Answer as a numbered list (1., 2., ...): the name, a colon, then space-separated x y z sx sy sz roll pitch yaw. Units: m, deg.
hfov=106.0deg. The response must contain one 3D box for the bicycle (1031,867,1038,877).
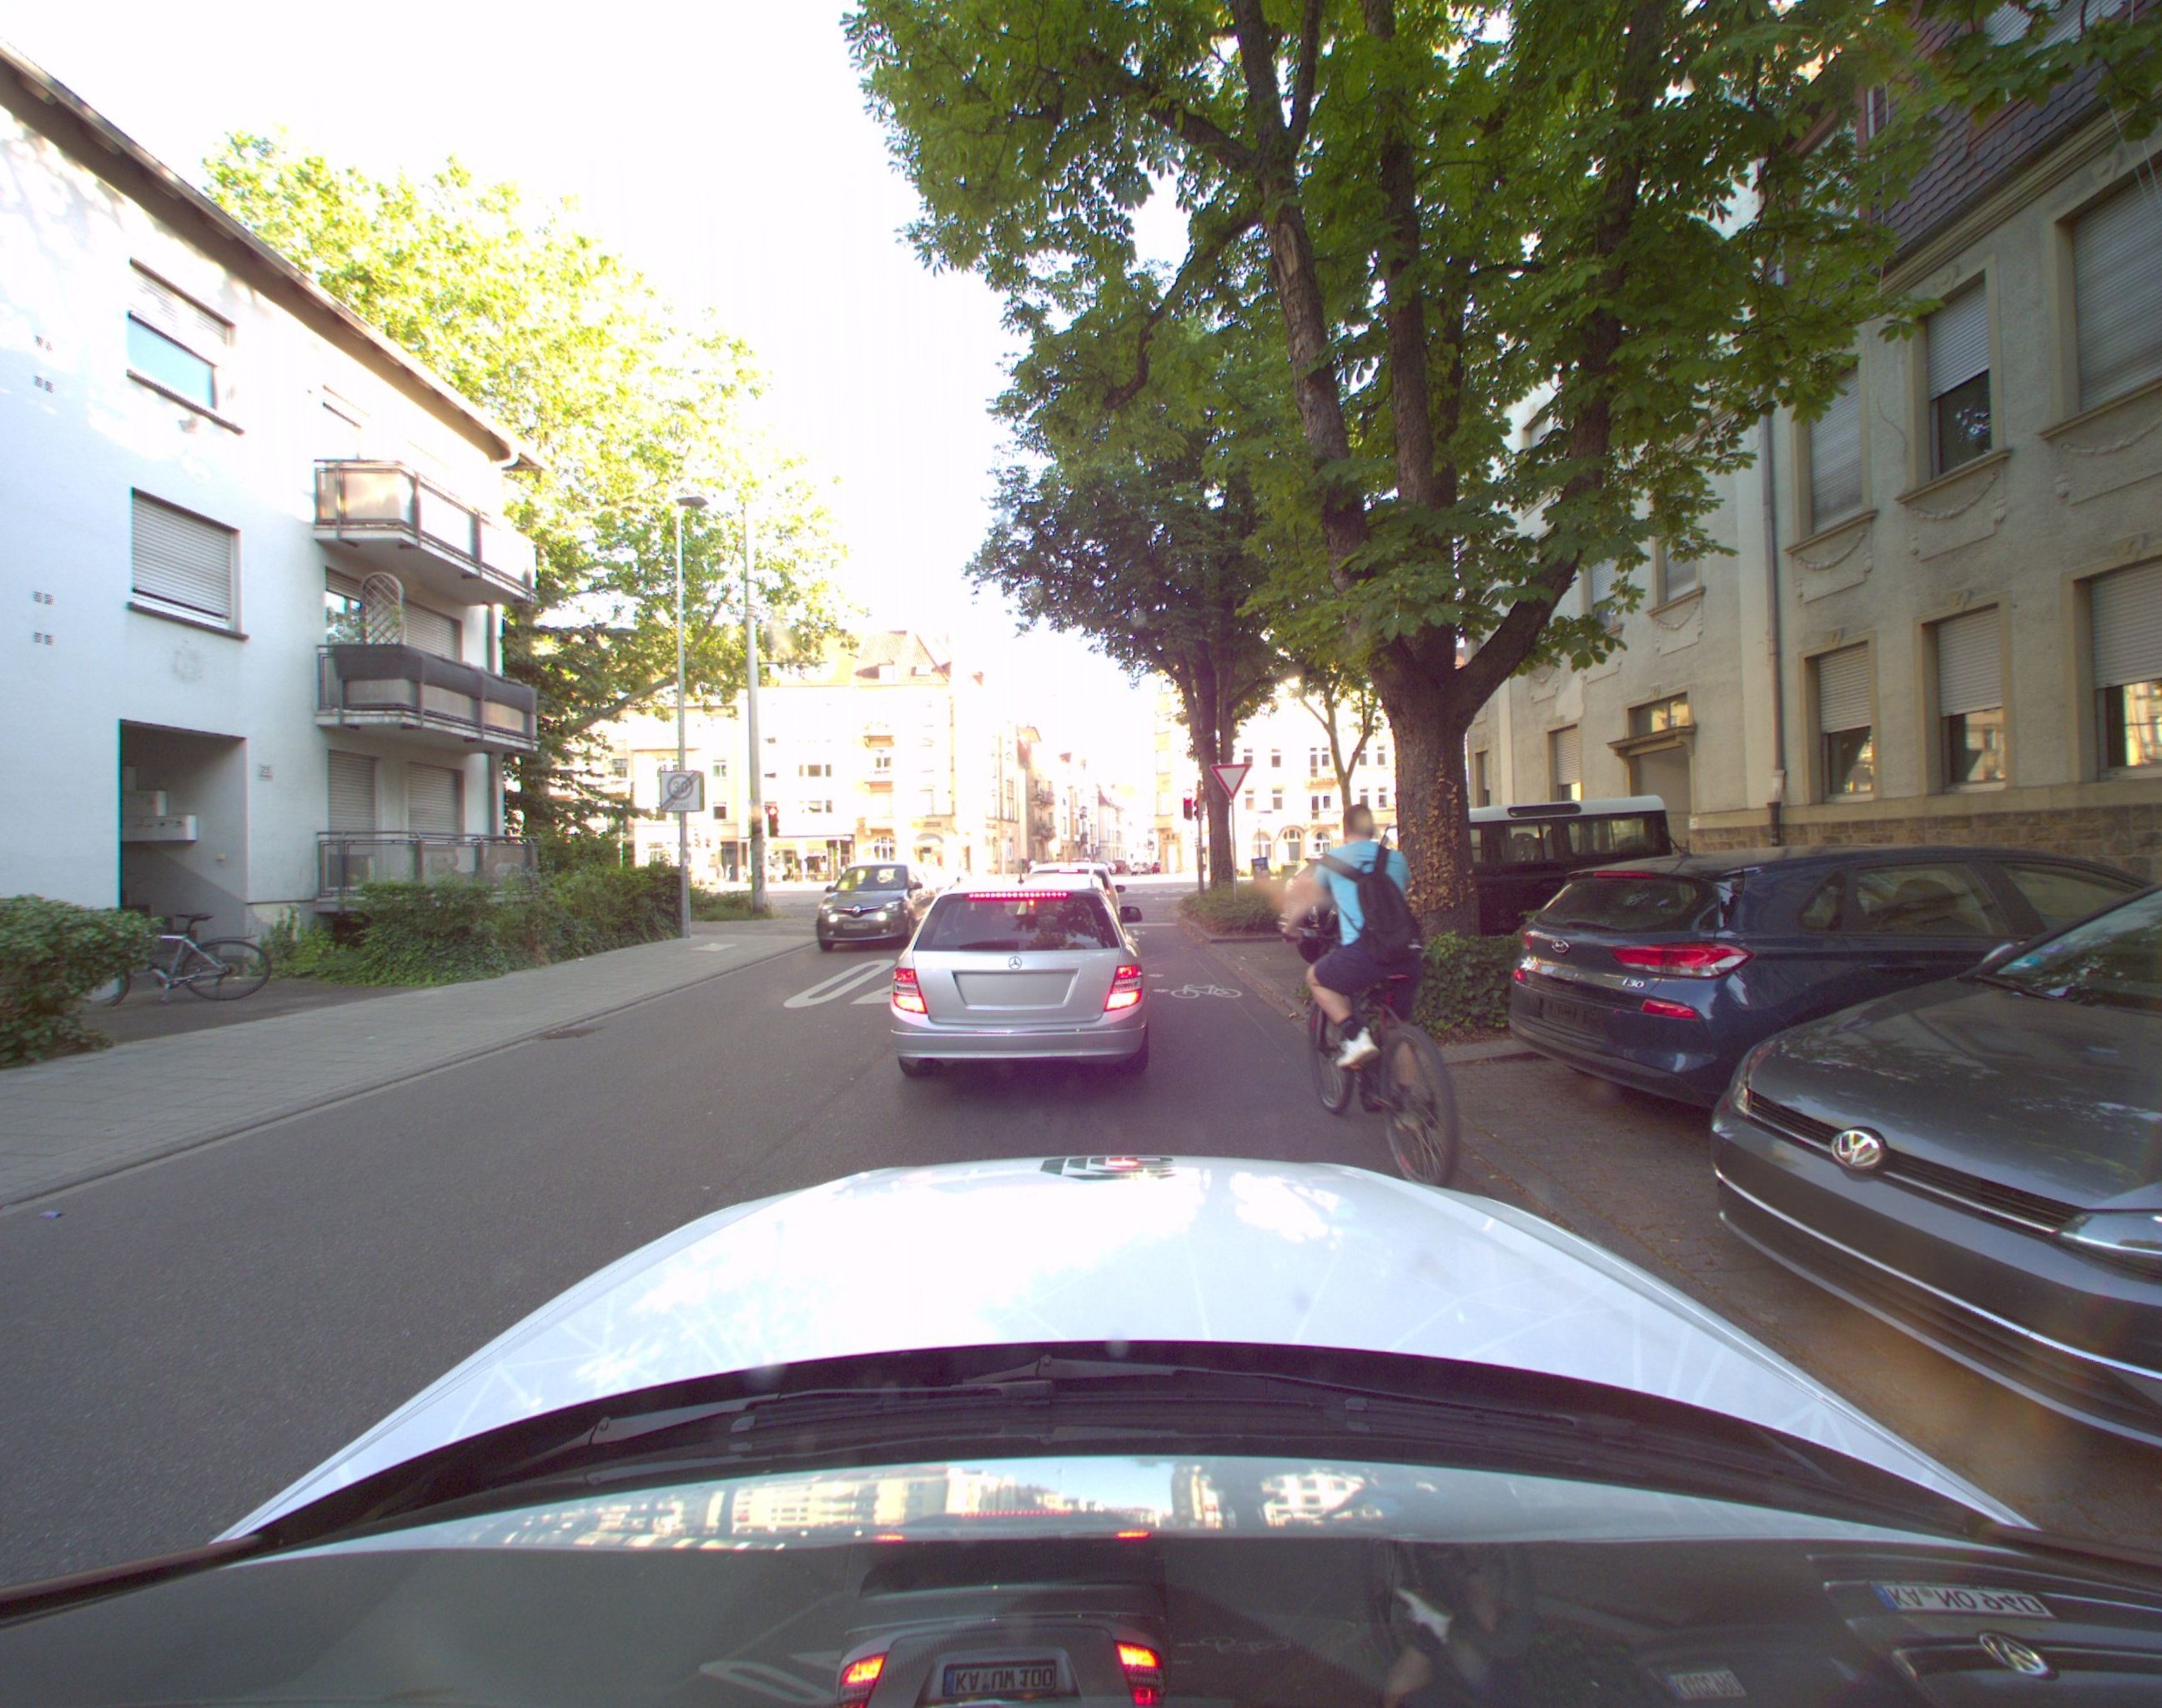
1. bicycle: -4.228 1.642 73.554 0.567 0.834 1.565 -1 0 -1

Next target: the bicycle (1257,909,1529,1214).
1. bicycle: 1.504 0.926 4.371 0.739 1.118 2.014 0 0 2

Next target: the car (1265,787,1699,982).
1. car: 4.788 0.347 10.186 4.478 1.956 1.792 -3 0 -1

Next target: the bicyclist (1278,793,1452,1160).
1. bicyclist: 1.479 0.598 4.368 0.644 1.775 0.831 0 -1 1

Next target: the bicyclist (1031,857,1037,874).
1. bicyclist: -4.246 1.071 73.651 0.465 1.514 0.655 -1 0 -2

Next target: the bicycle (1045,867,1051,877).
1. bicycle: -2.967 1.594 73.496 0.567 0.834 1.565 -1 0 -1

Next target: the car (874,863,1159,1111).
1. car: -0.398 0.808 6.592 1.685 1.429 3.491 0 0 -1

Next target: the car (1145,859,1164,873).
1. car: 9.222 1.453 102.023 1.709 1.478 4.016 -6 -1 14

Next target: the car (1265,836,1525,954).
1. car: 4.935 0.609 13.091 3.475 1.586 1.708 -3 0 -5

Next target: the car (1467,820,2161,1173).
1. car: 4.417 0.619 4.514 3.739 1.422 1.627 -3 -1 -2

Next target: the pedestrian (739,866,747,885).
1. pedestrian: -27.079 1.729 65.266 0.474 1.511 0.428 -1 0 -18

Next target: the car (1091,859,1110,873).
1. car: 2.512 1.530 102.476 1.639 1.783 3.876 -1 -1 13

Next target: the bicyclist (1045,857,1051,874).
1. bicyclist: -2.993 1.032 73.588 0.465 1.521 0.693 -1 0 -2

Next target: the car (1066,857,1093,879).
1. car: -0.119 1.354 79.971 1.926 1.958 4.161 -2 0 10

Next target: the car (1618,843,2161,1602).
1. car: 4.093 0.658 2.310 4.037 1.422 1.627 -3 -1 -2

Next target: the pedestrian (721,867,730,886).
1. pedestrian: -28.316 1.767 64.879 0.507 1.511 0.536 -1 0 -3

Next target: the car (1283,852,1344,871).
1. car: 14.127 0.466 49.604 3.352 1.069 1.380 -2 0 0

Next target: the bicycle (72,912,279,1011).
1. bicycle: -10.009 1.156 9.074 1.469 0.975 0.402 2 -2 -38

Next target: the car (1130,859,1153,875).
1. car: 6.423 1.318 85.903 1.708 1.478 4.016 -3 0 14

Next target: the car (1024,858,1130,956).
1. car: -0.044 0.782 13.722 1.528 1.391 3.599 -1 0 0

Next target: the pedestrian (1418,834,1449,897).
1. pedestrian: 10.520 0.343 24.339 0.630 1.845 0.574 -1 0 -2

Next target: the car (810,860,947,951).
1. car: -3.788 0.904 15.848 1.609 1.501 3.594 -1 0 2

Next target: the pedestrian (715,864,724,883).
1. pedestrian: -28.389 1.516 63.906 0.566 1.511 0.499 -1 0 -17
